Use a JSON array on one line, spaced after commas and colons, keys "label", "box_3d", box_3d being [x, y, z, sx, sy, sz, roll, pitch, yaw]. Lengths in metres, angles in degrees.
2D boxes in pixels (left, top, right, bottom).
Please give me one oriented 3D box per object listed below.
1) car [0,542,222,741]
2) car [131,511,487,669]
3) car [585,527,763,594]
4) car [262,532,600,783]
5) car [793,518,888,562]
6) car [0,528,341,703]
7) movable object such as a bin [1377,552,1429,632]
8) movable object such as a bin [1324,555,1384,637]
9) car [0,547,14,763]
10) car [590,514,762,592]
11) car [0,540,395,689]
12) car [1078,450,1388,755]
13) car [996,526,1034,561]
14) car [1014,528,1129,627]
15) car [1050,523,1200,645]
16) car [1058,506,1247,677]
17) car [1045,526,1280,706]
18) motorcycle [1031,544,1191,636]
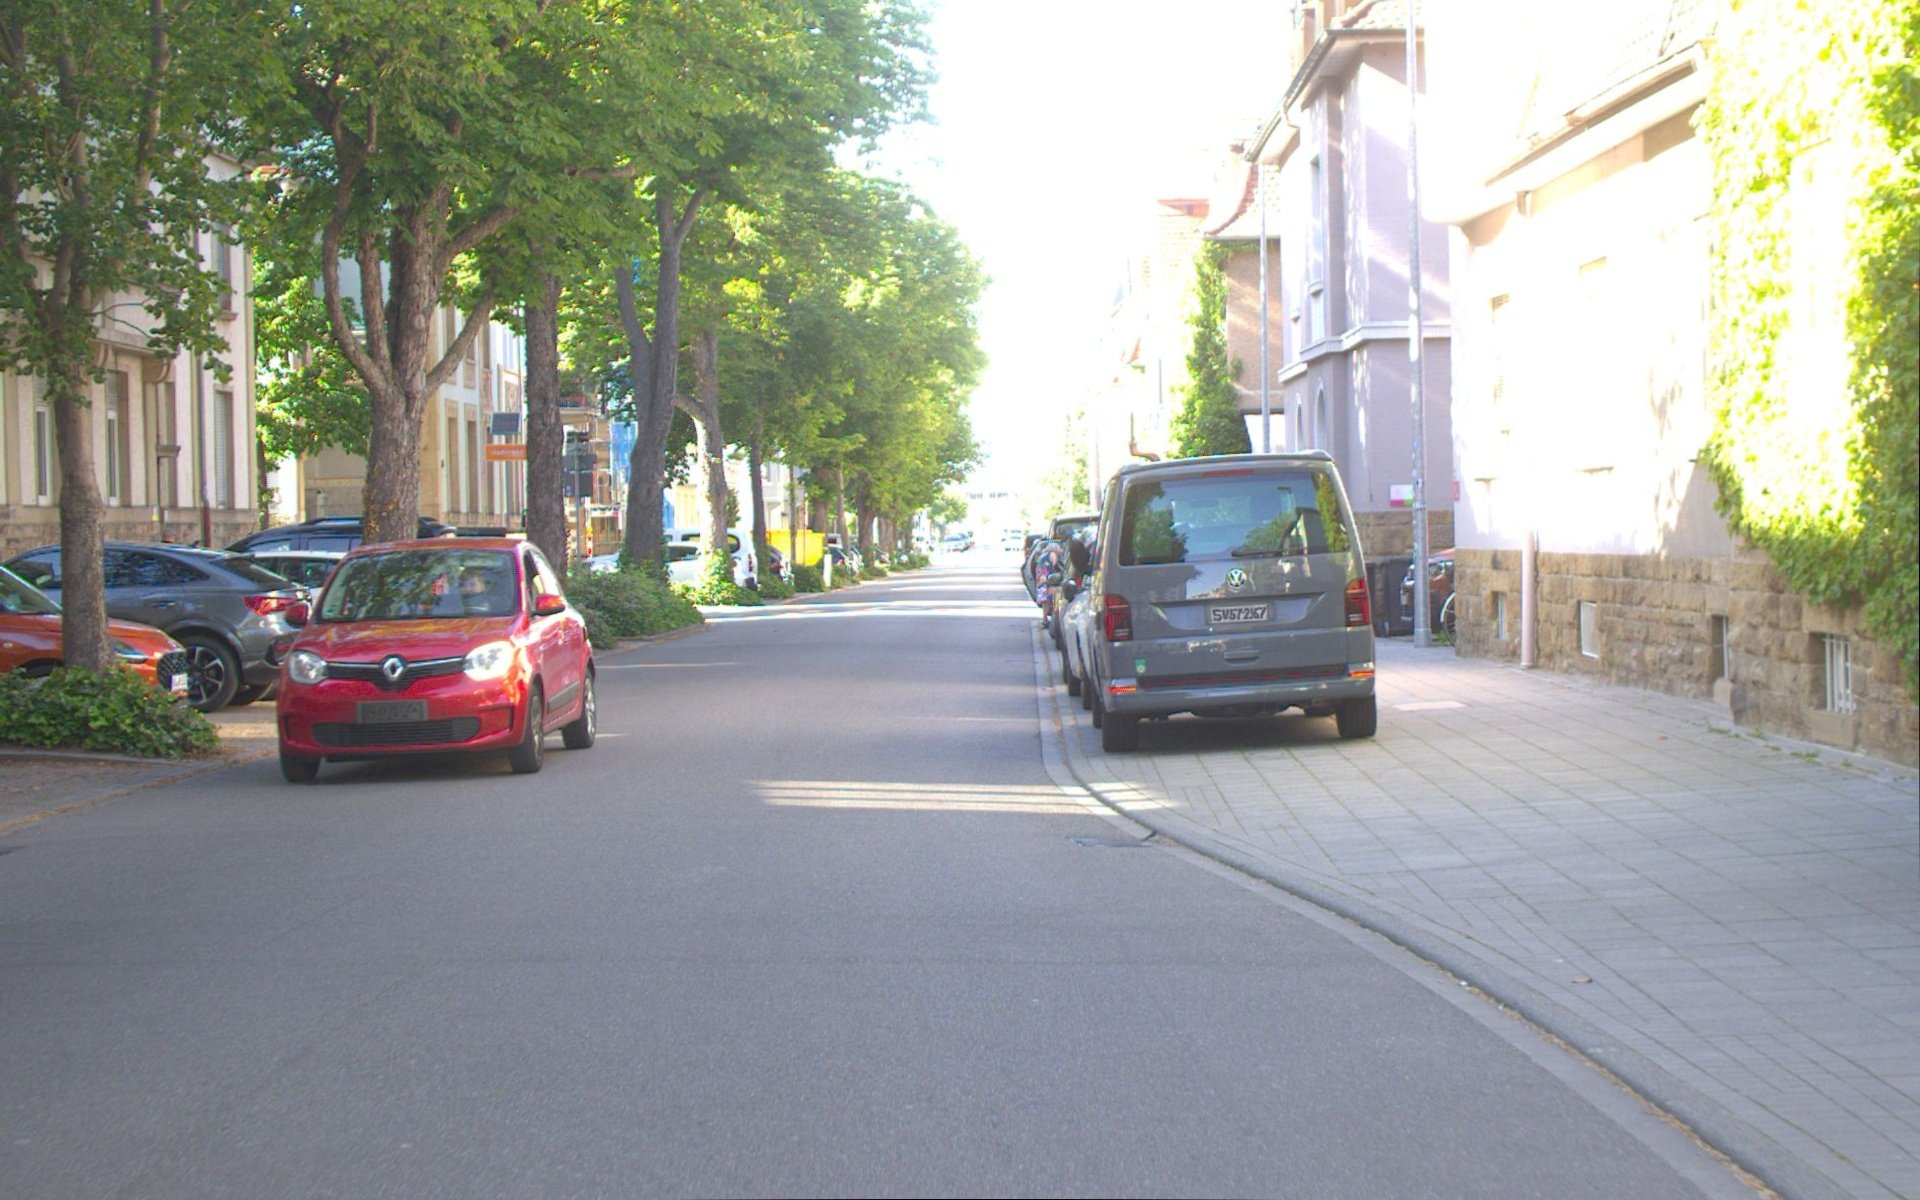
[{"label": "car", "box_3d": [-8.022, 0.318, 27.143, 3.987, 1.509, 1.747, 0, 0, 1]}, {"label": "car", "box_3d": [-7.873, -0.132, 41.840, 3.979, 1.849, 1.829, -1, 1, 0]}, {"label": "car", "box_3d": [-6.572, -0.903, 79.259, 3.986, 1.459, 1.798, 1, 0, -3]}, {"label": "car", "box_3d": [-3.489, 0.320, 23.273, 1.641, 1.503, 3.702, -2, 1, 0]}, {"label": "car", "box_3d": [-5.293, -2.681, 152.727, 4.007, 1.834, 2.000, 1, 2, 3]}, {"label": "car", "box_3d": [-7.951, 0.118, 32.153, 3.987, 1.587, 1.859, 0, 1, 0]}, {"label": "movable object such as a bin", "box_3d": [5.859, -0.113, 45.514, 0.568, 1.036, 0.618, -2, 1, -1]}, {"label": "movable object such as a bin", "box_3d": [5.197, -0.058, 45.368, 0.647, 1.036, 0.828, -2, 1, -1]}, {"label": "car", "box_3d": [-8.402, 0.378, 22.675, 3.790, 1.457, 1.863, 0, 1, 2]}, {"label": "car", "box_3d": [-6.709, -1.115, 81.530, 3.986, 1.755, 1.798, 1, 0, -3]}, {"label": "car", "box_3d": [-7.825, 0.124, 34.487, 3.903, 1.441, 1.859, 0, 1, 6]}, {"label": "car", "box_3d": [1.870, -0.037, 24.942, 1.865, 1.909, 4.782, -3, 1, 1]}, {"label": "car", "box_3d": [2.684, -2.759, 167.129, 1.771, 1.625, 3.866, -1, 1, 2]}, {"label": "car", "box_3d": [1.890, -0.412, 59.180, 1.699, 1.534, 4.156, -3, 1, -1]}, {"label": "car", "box_3d": [2.195, -0.259, 46.613, 1.854, 1.488, 4.608, -3, 1, 2]}, {"label": "car", "box_3d": [1.978, -0.109, 36.265, 1.789, 1.595, 4.000, -4, 1, 2]}, {"label": "car", "box_3d": [1.752, 0.088, 30.972, 1.678, 1.452, 4.439, -2, 1, -2]}, {"label": "motorcycle", "box_3d": [2.268, -0.156, 51.546, 2.193, 1.334, 0.921, 0, 2, -26]}]
